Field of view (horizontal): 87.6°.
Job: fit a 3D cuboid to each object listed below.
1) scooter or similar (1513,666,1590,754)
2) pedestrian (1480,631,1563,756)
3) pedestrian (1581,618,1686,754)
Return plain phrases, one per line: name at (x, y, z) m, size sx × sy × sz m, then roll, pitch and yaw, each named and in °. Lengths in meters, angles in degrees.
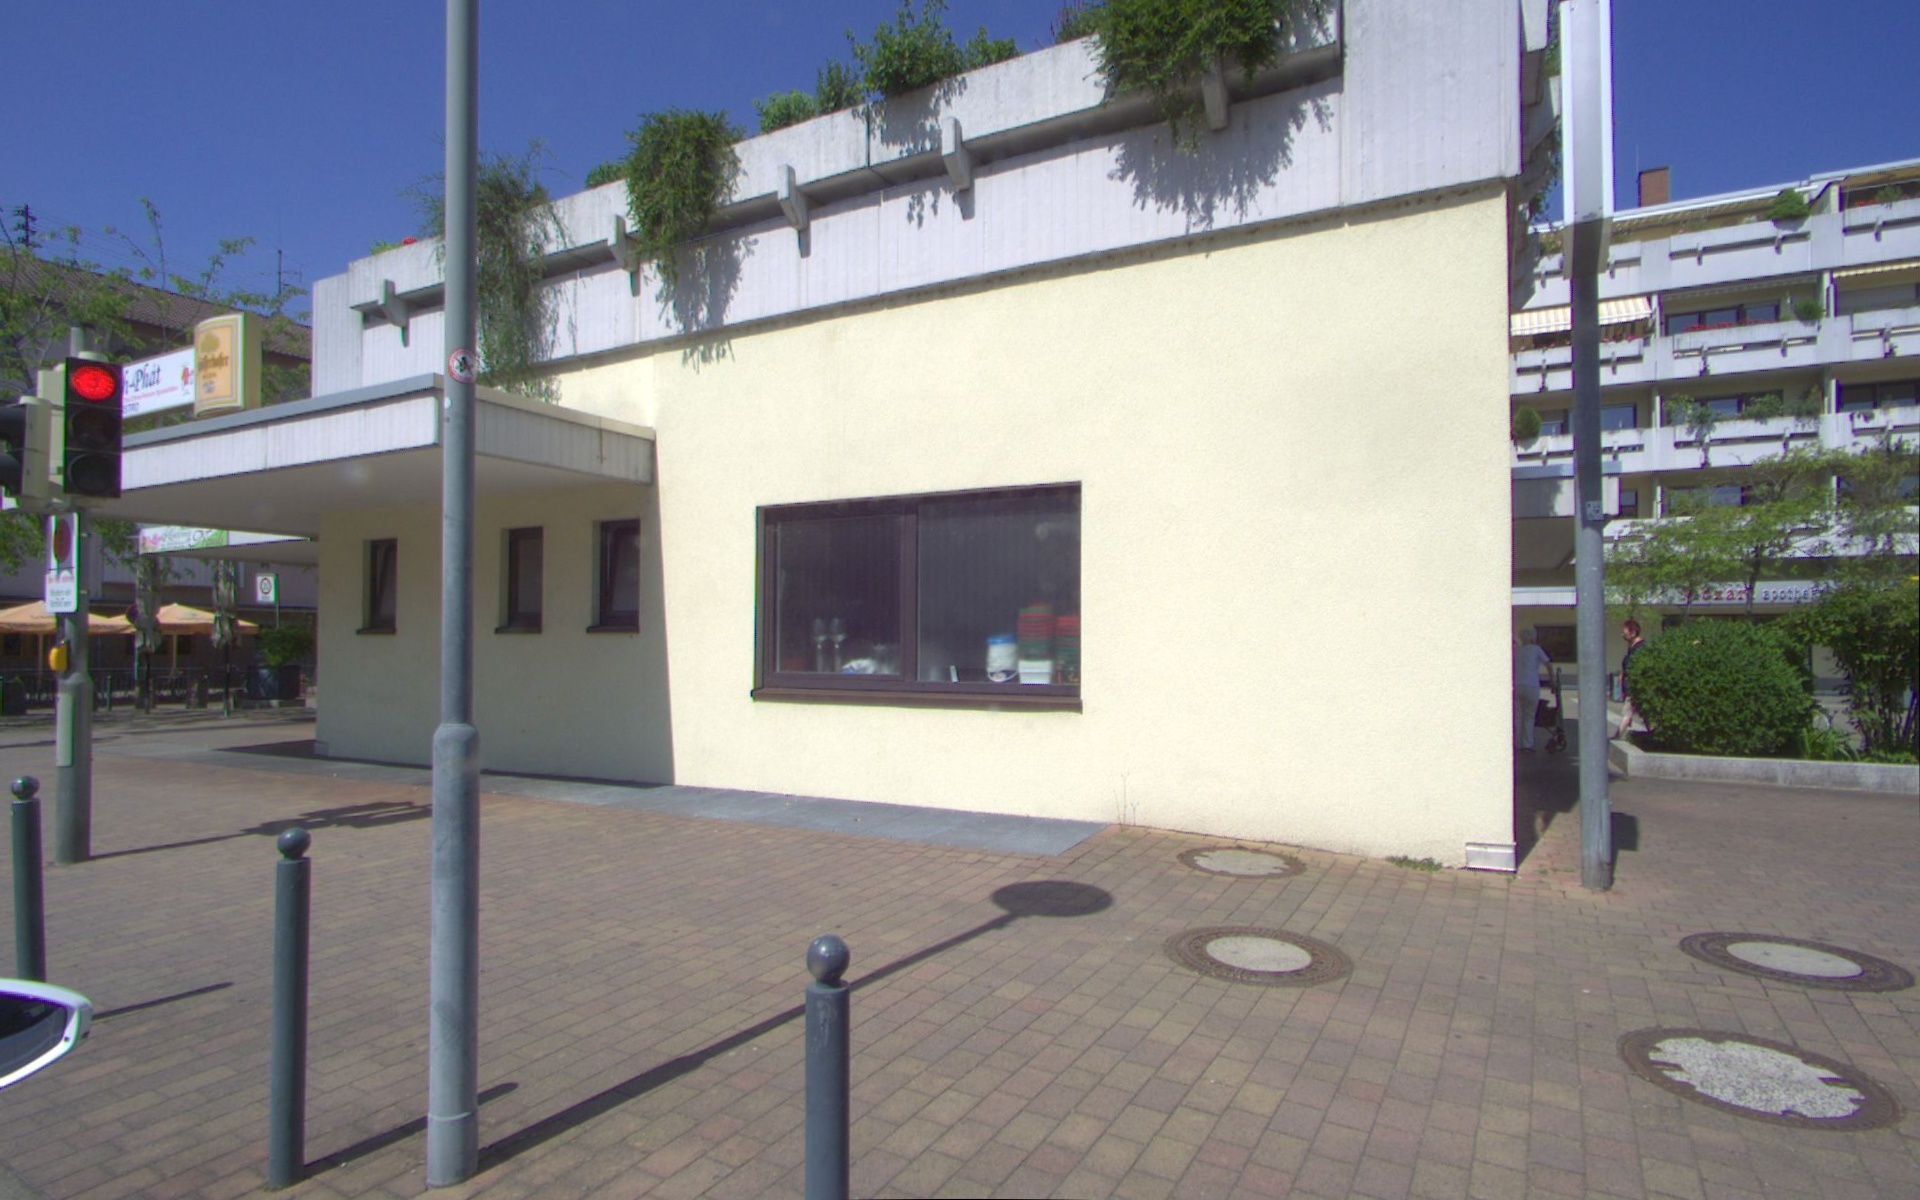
scooter or similar at (7.734, 1.412, 13.088) m, size 0.795 × 1.088 × 0.587 m, roll 2°, pitch -2°, yaw -35°
pedestrian at (7.090, 1.161, 12.649) m, size 0.801 × 1.516 × 0.615 m, roll 1°, pitch -2°, yaw -35°
pedestrian at (8.927, 1.124, 13.295) m, size 0.885 × 1.758 × 0.704 m, roll 0°, pitch -2°, yaw -6°
